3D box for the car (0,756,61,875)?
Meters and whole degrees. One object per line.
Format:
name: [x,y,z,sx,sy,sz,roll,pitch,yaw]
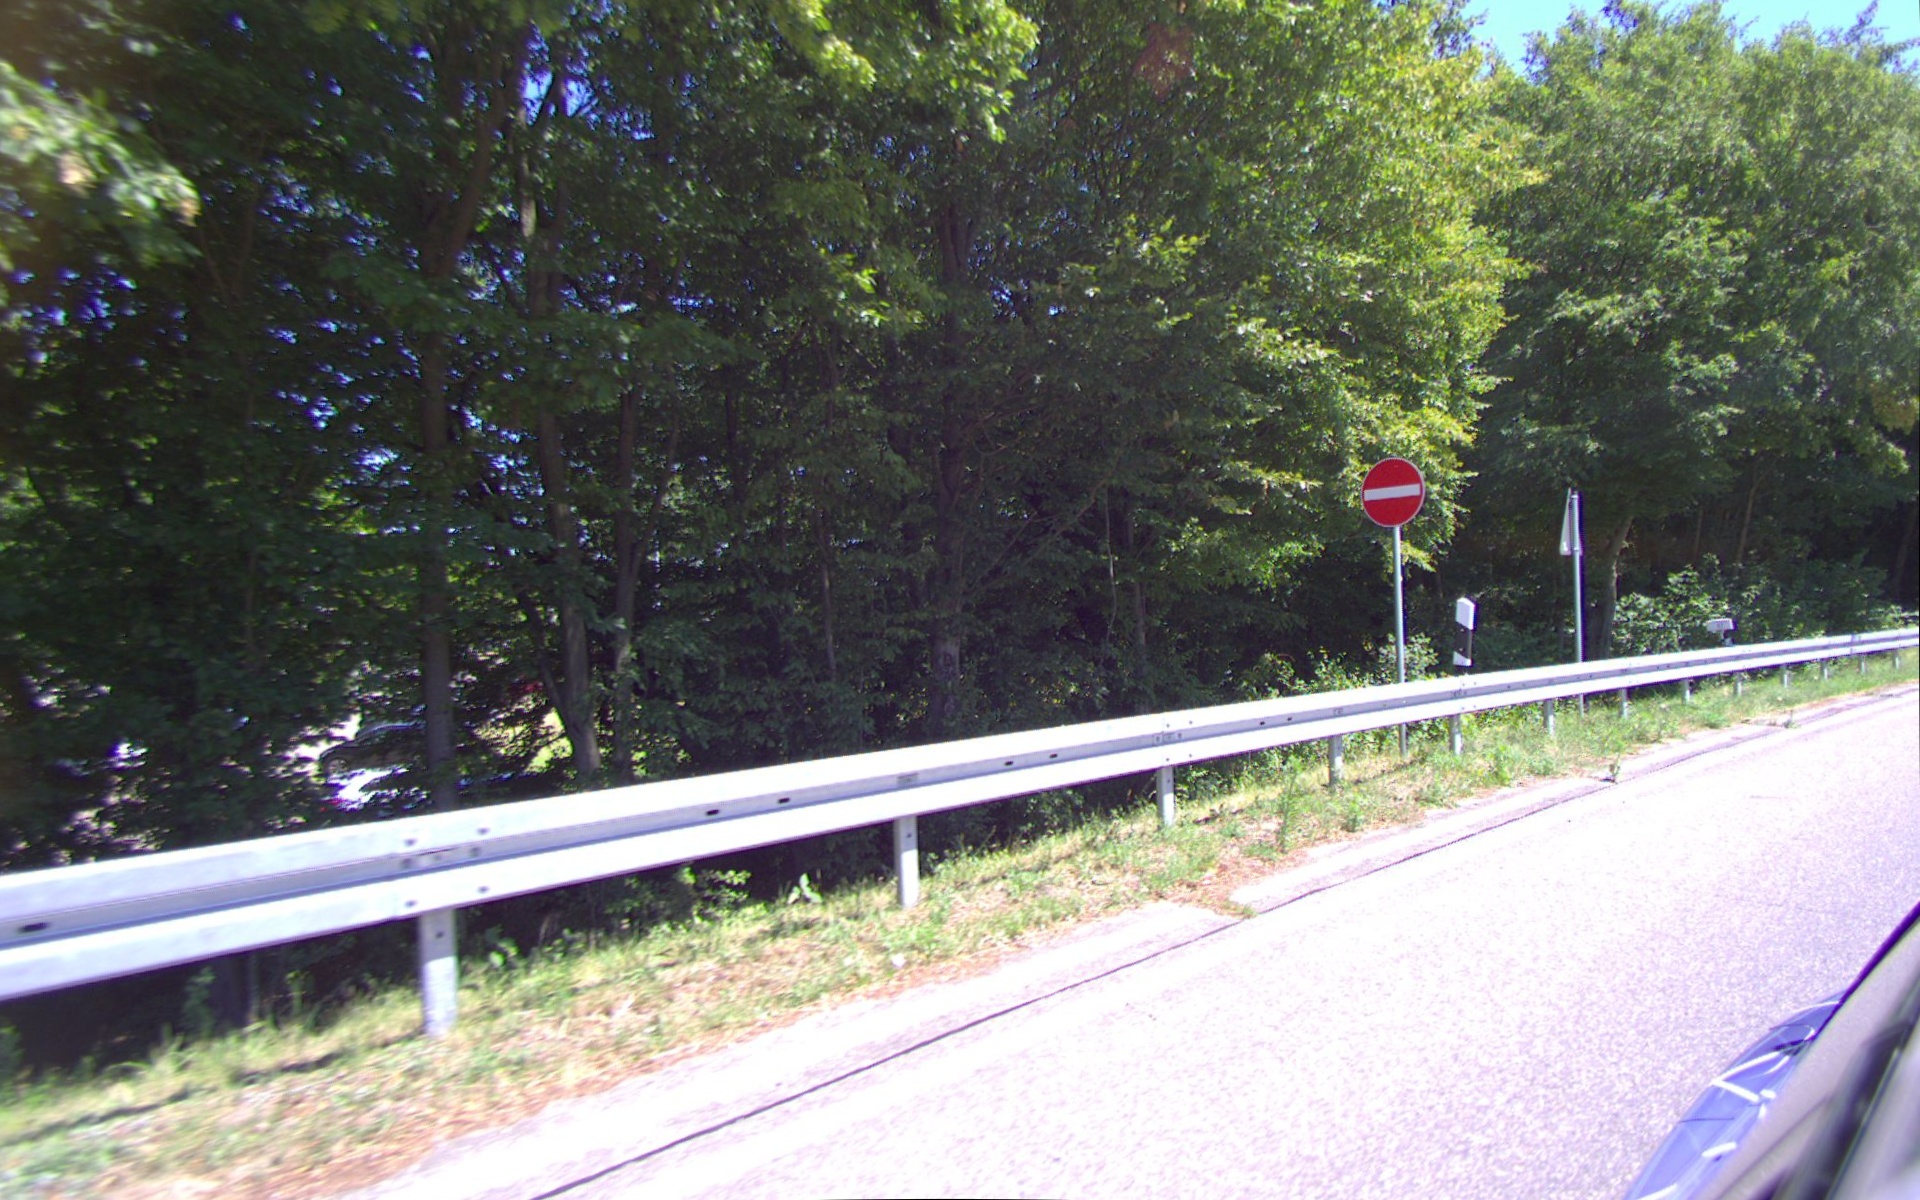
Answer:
car: [-19.273,4.258,18.874,1.959,2.039,4.006,-1,-1,-11]
